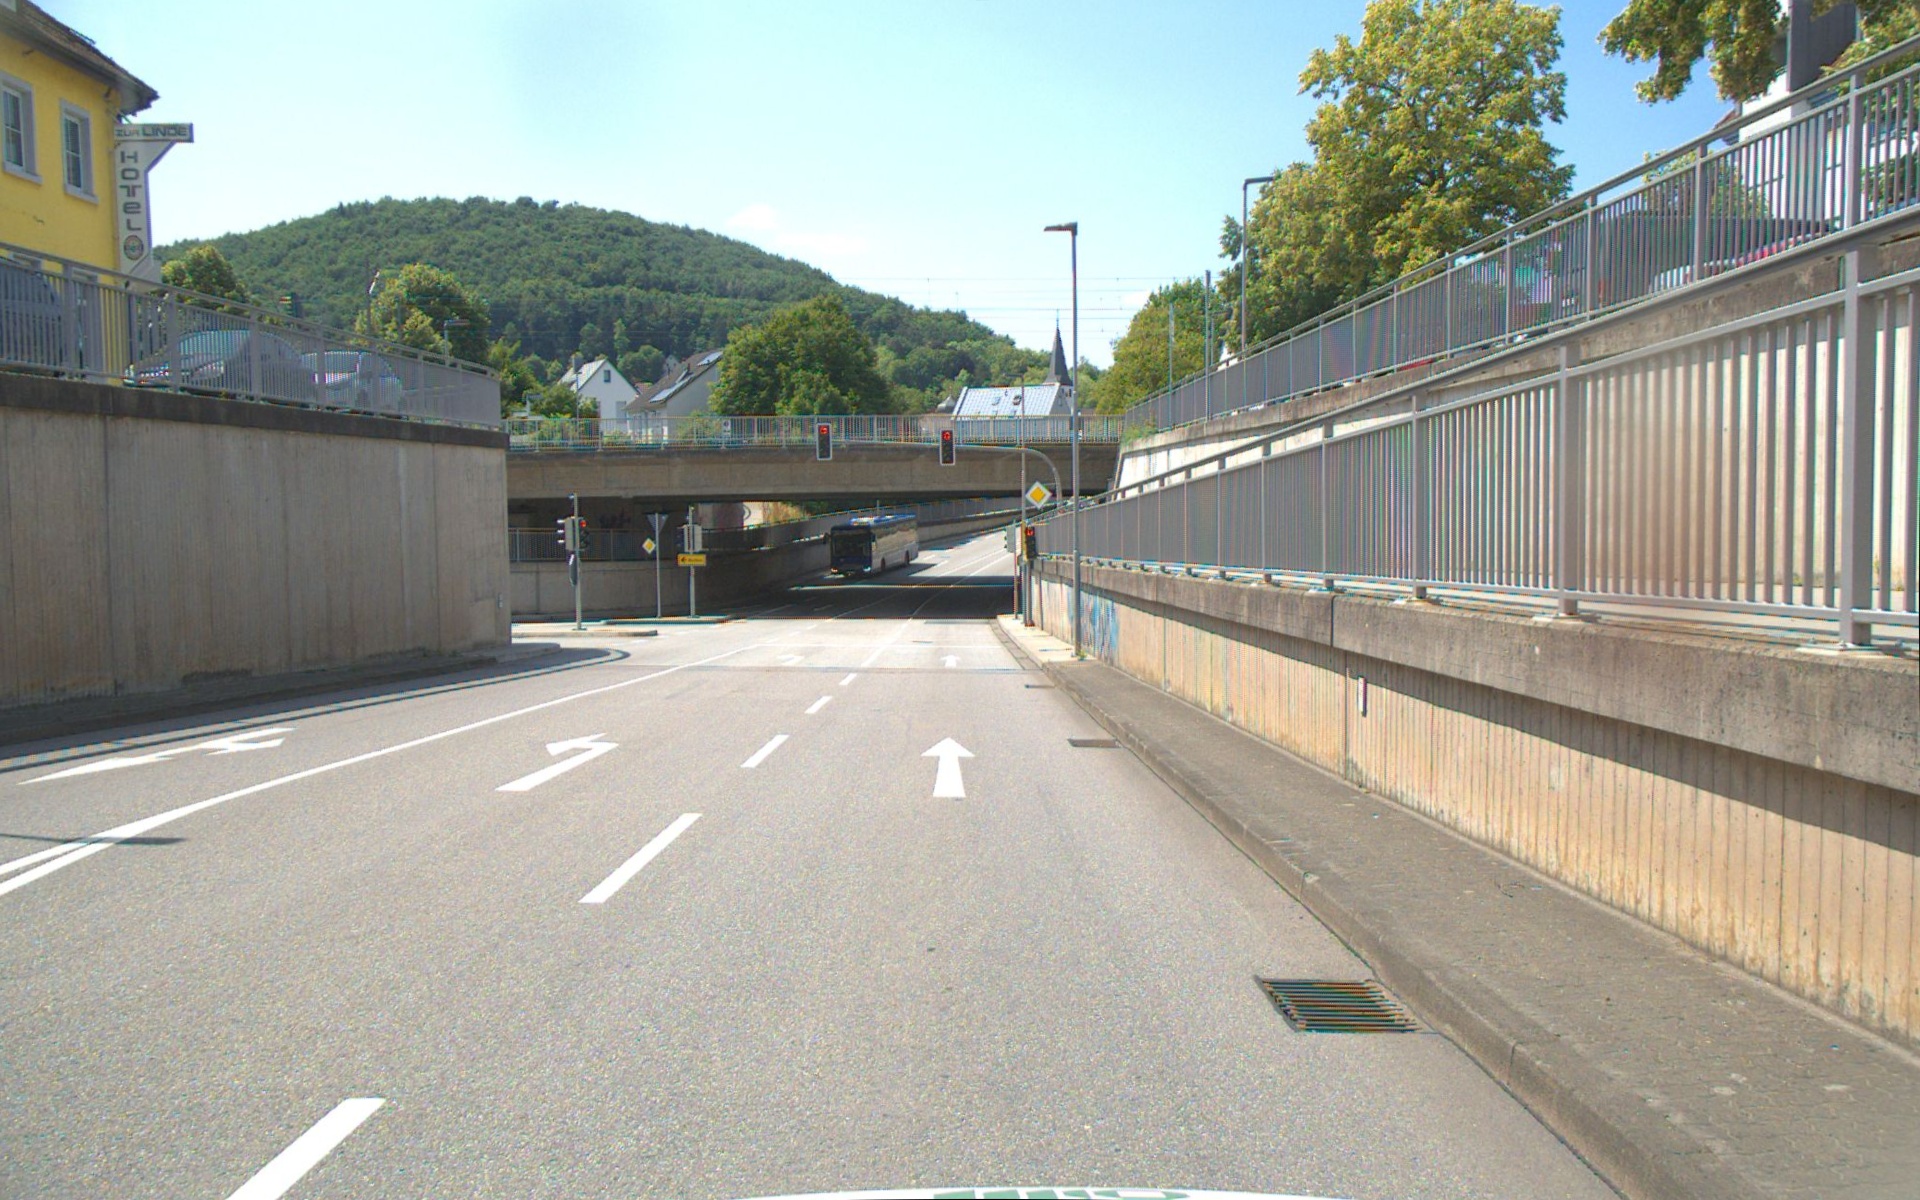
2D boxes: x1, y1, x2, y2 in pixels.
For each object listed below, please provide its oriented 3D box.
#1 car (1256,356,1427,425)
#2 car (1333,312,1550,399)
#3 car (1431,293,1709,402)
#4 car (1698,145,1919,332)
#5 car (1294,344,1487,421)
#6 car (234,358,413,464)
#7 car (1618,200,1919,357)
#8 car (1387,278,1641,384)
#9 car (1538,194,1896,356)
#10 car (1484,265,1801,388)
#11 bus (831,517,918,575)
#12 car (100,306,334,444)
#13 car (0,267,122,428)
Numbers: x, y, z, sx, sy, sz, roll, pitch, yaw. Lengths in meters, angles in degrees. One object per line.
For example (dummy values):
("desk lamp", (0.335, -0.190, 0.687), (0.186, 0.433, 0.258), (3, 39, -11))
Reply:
("car", (9.466, -5.215, 41.241), (3.904, 1.512, 1.770), (0, 0, 2))
("car", (9.679, -4.925, 33.452), (3.904, 1.512, 1.770), (0, 0, 2))
("car", (9.862, -4.085, 26.967), (3.904, 1.512, 1.770), (0, 0, 2))
("car", (9.772, -3.591, 16.642), (3.904, 1.512, 1.770), (0, 0, 2))
("car", (9.613, -4.871, 37.125), (3.904, 1.512, 1.770), (0, 0, 2))
("car", (-11.657, -3.426, 30.591), (1.864, 1.696, 4.000), (0, 3, -2))
("car", (10.015, -3.724, 19.406), (3.904, 1.512, 1.770), (0, 0, 2))
("car", (9.688, -4.705, 29.130), (3.904, 1.594, 1.770), (0, 0, 2))
("car", (9.860, -4.227, 21.762), (3.904, 1.801, 1.770), (0, 0, 2))
("car", (9.846, -3.954, 24.093), (3.904, 1.512, 1.770), (0, 0, 2))
("bus", (-4.960, -3.335, 99.026), (2.526, 3.227, 12.391), (0, 3, 10))
("car", (-11.240, -3.366, 25.364), (1.786, 1.735, 4.222), (0, 3, -2))
("car", (-11.089, -2.776, 18.044), (1.762, 1.551, 4.392), (0, 3, -2))
